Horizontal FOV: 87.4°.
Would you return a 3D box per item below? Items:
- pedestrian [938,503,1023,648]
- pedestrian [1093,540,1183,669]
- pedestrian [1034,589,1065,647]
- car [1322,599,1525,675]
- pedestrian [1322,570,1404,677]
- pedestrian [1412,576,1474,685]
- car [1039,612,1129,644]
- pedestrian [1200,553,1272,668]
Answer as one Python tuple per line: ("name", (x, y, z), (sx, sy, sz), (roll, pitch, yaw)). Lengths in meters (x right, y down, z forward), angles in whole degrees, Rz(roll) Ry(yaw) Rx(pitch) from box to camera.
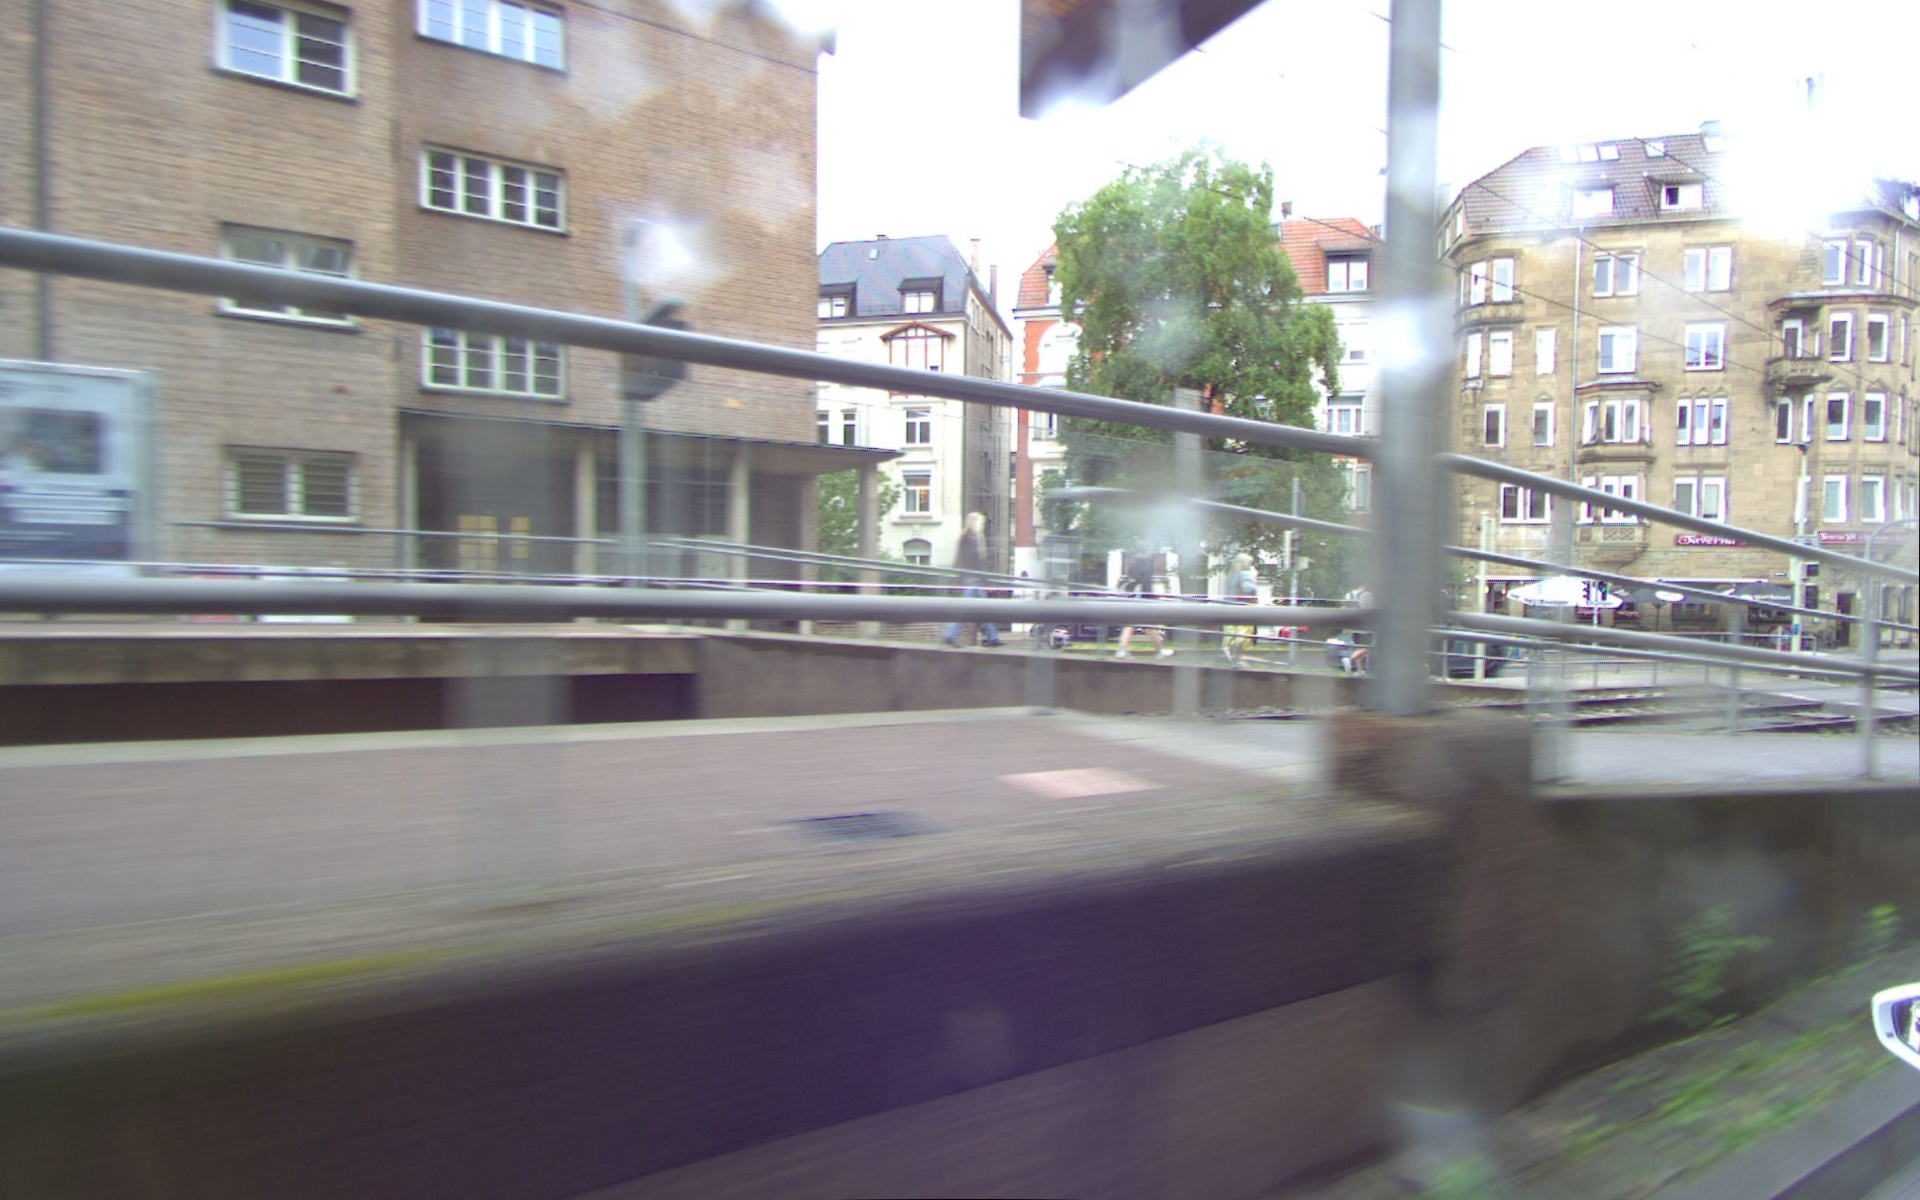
("pedestrian", (0.257, -0.297, 12.610), (0.681, 1.720, 0.660), (5, 0, -33))
("pedestrian", (2.488, 0.065, 14.075), (0.873, 1.718, 0.740), (4, 0, -30))
("pedestrian", (2.624, 0.530, 29.528), (0.681, 1.697, 0.600), (1, -1, -33))
("car", (10.222, 0.786, 22.037), (4.708, 1.517, 1.636), (1, 0, -30))
("pedestrian", (6.345, 0.363, 15.810), (0.945, 1.604, 0.689), (4, 0, -30))
("pedestrian", (8.526, 0.538, 17.739), (0.791, 1.842, 0.508), (6, -1, -30))
("car", (5.900, 1.302, 47.615), (4.059, 1.421, 1.743), (1, -1, 12))
("pedestrian", (4.149, 0.157, 15.120), (0.633, 1.669, 0.740), (3, 0, -30))
